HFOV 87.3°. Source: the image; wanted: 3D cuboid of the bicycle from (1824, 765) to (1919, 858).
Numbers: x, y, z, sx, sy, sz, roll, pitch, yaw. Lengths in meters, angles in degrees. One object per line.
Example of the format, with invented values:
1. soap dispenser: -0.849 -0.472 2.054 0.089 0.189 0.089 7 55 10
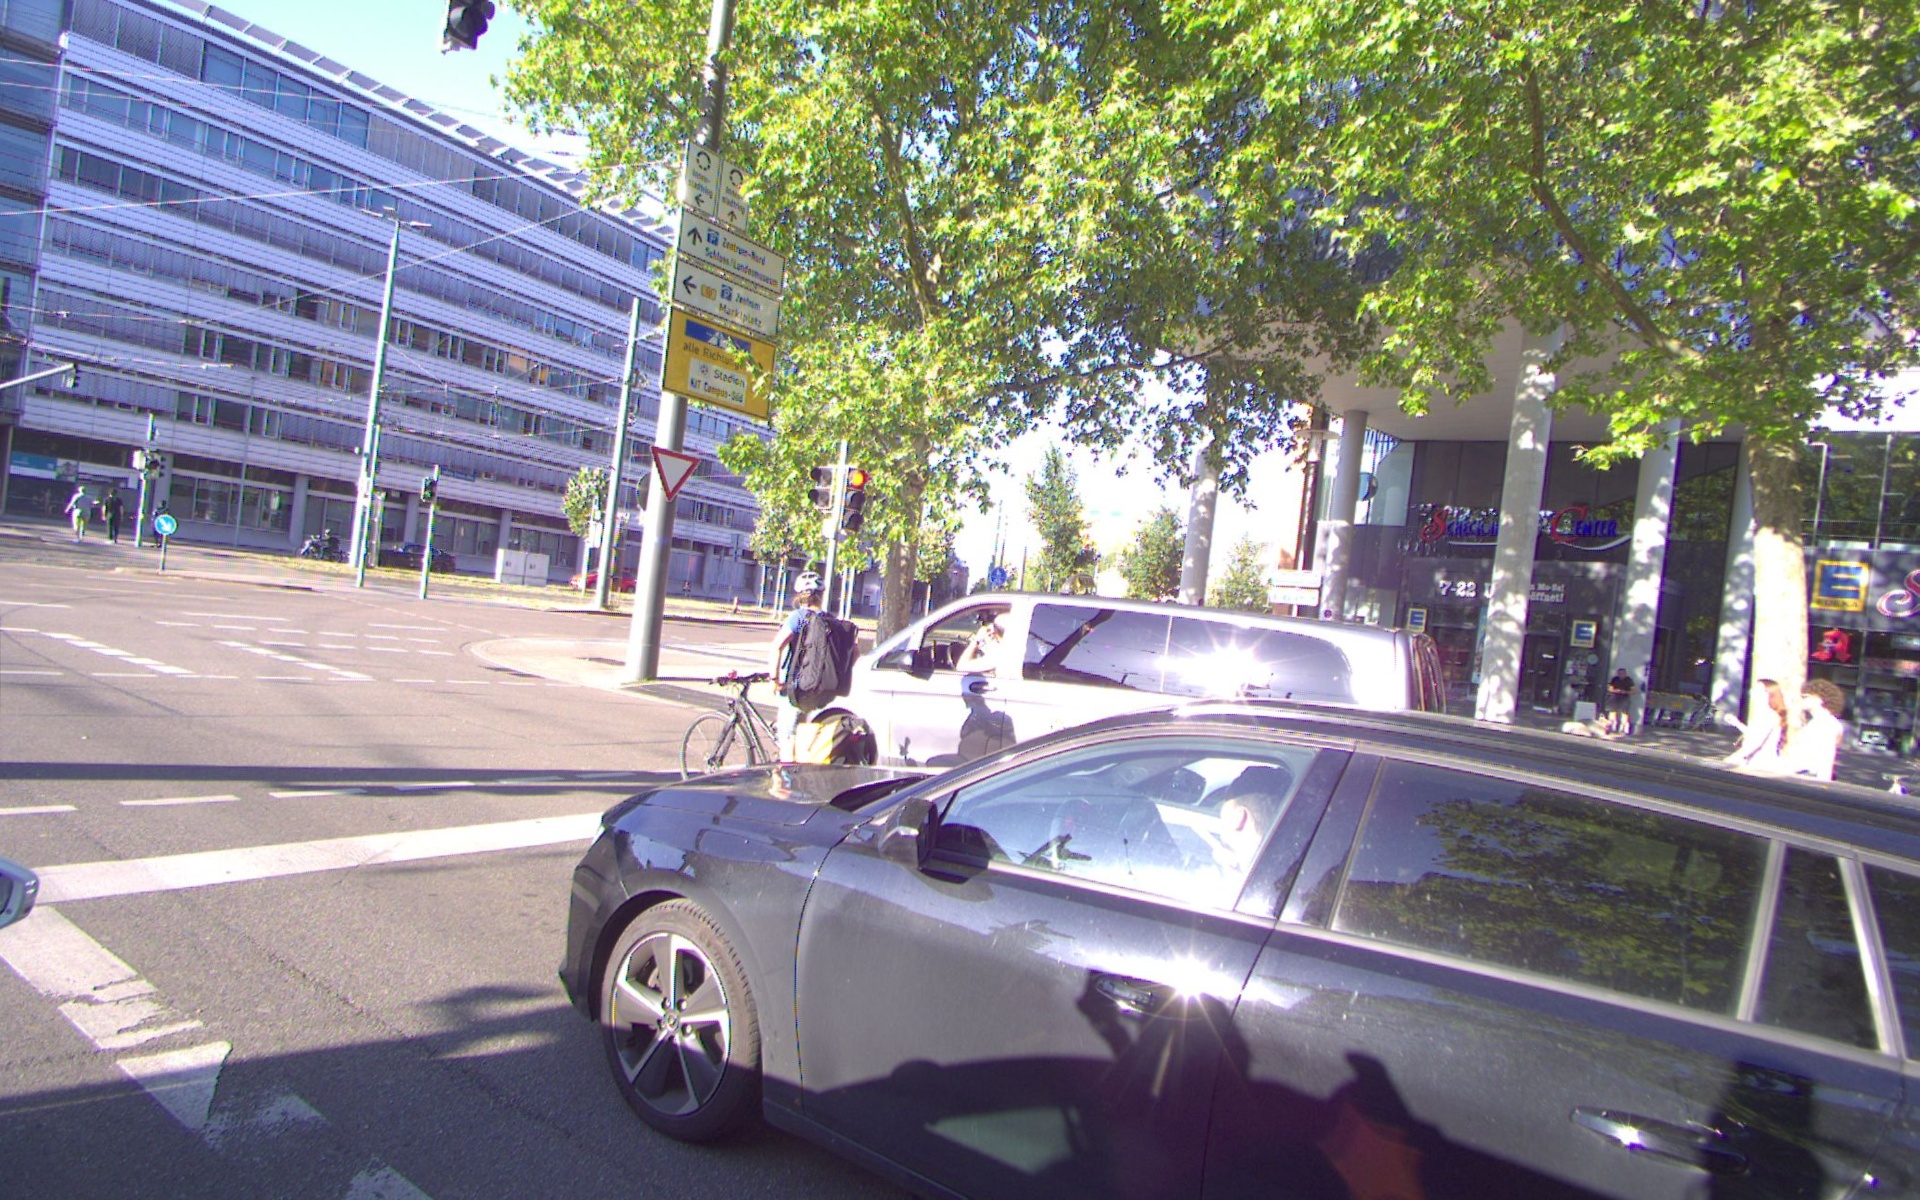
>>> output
1. bicycle: 11.497 2.609 12.357 0.460 0.938 1.210 6 0 -39

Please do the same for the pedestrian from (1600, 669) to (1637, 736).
1. pedestrian: 17.522 2.738 26.769 0.598 1.707 0.511 6 1 -41

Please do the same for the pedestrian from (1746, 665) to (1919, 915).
1. pedestrian: 7.228 1.530 8.382 0.800 1.868 0.642 7 1 30

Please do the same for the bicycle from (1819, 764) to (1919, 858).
1. bicycle: 11.199 2.547 12.085 0.437 0.930 1.210 6 0 -39

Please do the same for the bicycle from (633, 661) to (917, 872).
1. bicycle: -1.246 1.021 6.583 1.839 0.993 0.561 7 1 32

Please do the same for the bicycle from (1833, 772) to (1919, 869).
1. bicycle: 10.540 2.481 11.098 1.233 0.898 0.462 7 1 32

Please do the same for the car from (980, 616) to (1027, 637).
1. car: 3.792 2.341 87.018 1.758 1.353 4.605 7 0 37

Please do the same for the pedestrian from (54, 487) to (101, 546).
1. pedestrian: -29.248 -2.740 33.356 0.857 1.811 0.865 6 1 -30

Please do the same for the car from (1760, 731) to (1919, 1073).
1. car: 6.536 1.730 4.586 4.181 1.503 1.741 7 0 31

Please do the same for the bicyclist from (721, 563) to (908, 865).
1. bicyclist: -0.914 0.684 6.352 0.766 1.714 0.632 7 1 32

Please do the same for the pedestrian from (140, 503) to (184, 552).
1. pedestrian: -28.370 -2.585 35.756 0.883 1.583 0.947 7 1 39

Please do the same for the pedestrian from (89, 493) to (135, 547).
1. pedestrian: -29.476 -2.775 34.962 1.020 1.706 0.912 7 1 39

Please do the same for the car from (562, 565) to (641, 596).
1. car: -21.003 -1.146 59.068 1.758 1.411 3.984 7 1 37

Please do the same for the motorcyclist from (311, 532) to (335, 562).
1. motorcyclist: -29.686 -2.469 46.905 0.452 1.291 0.712 7 1 36

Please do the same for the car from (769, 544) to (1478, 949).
1. car: 1.120 0.846 7.958 5.012 2.004 1.939 7 0 31

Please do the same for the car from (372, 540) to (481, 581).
1. car: -25.401 -1.854 48.014 1.758 1.415 4.157 7 0 37

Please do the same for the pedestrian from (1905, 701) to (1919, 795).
1. pedestrian: 19.146 2.940 19.524 0.596 1.805 0.881 6 1 -29

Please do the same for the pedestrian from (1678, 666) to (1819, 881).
1. pedestrian: 7.251 1.558 9.295 0.751 1.799 0.647 7 1 30

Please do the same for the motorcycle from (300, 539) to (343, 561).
1. motorcycle: -29.737 -2.316 46.848 0.460 0.820 1.568 7 0 36

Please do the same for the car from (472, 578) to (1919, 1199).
1. car: 0.812 0.937 2.726 4.199 1.431 1.742 7 -2 32
